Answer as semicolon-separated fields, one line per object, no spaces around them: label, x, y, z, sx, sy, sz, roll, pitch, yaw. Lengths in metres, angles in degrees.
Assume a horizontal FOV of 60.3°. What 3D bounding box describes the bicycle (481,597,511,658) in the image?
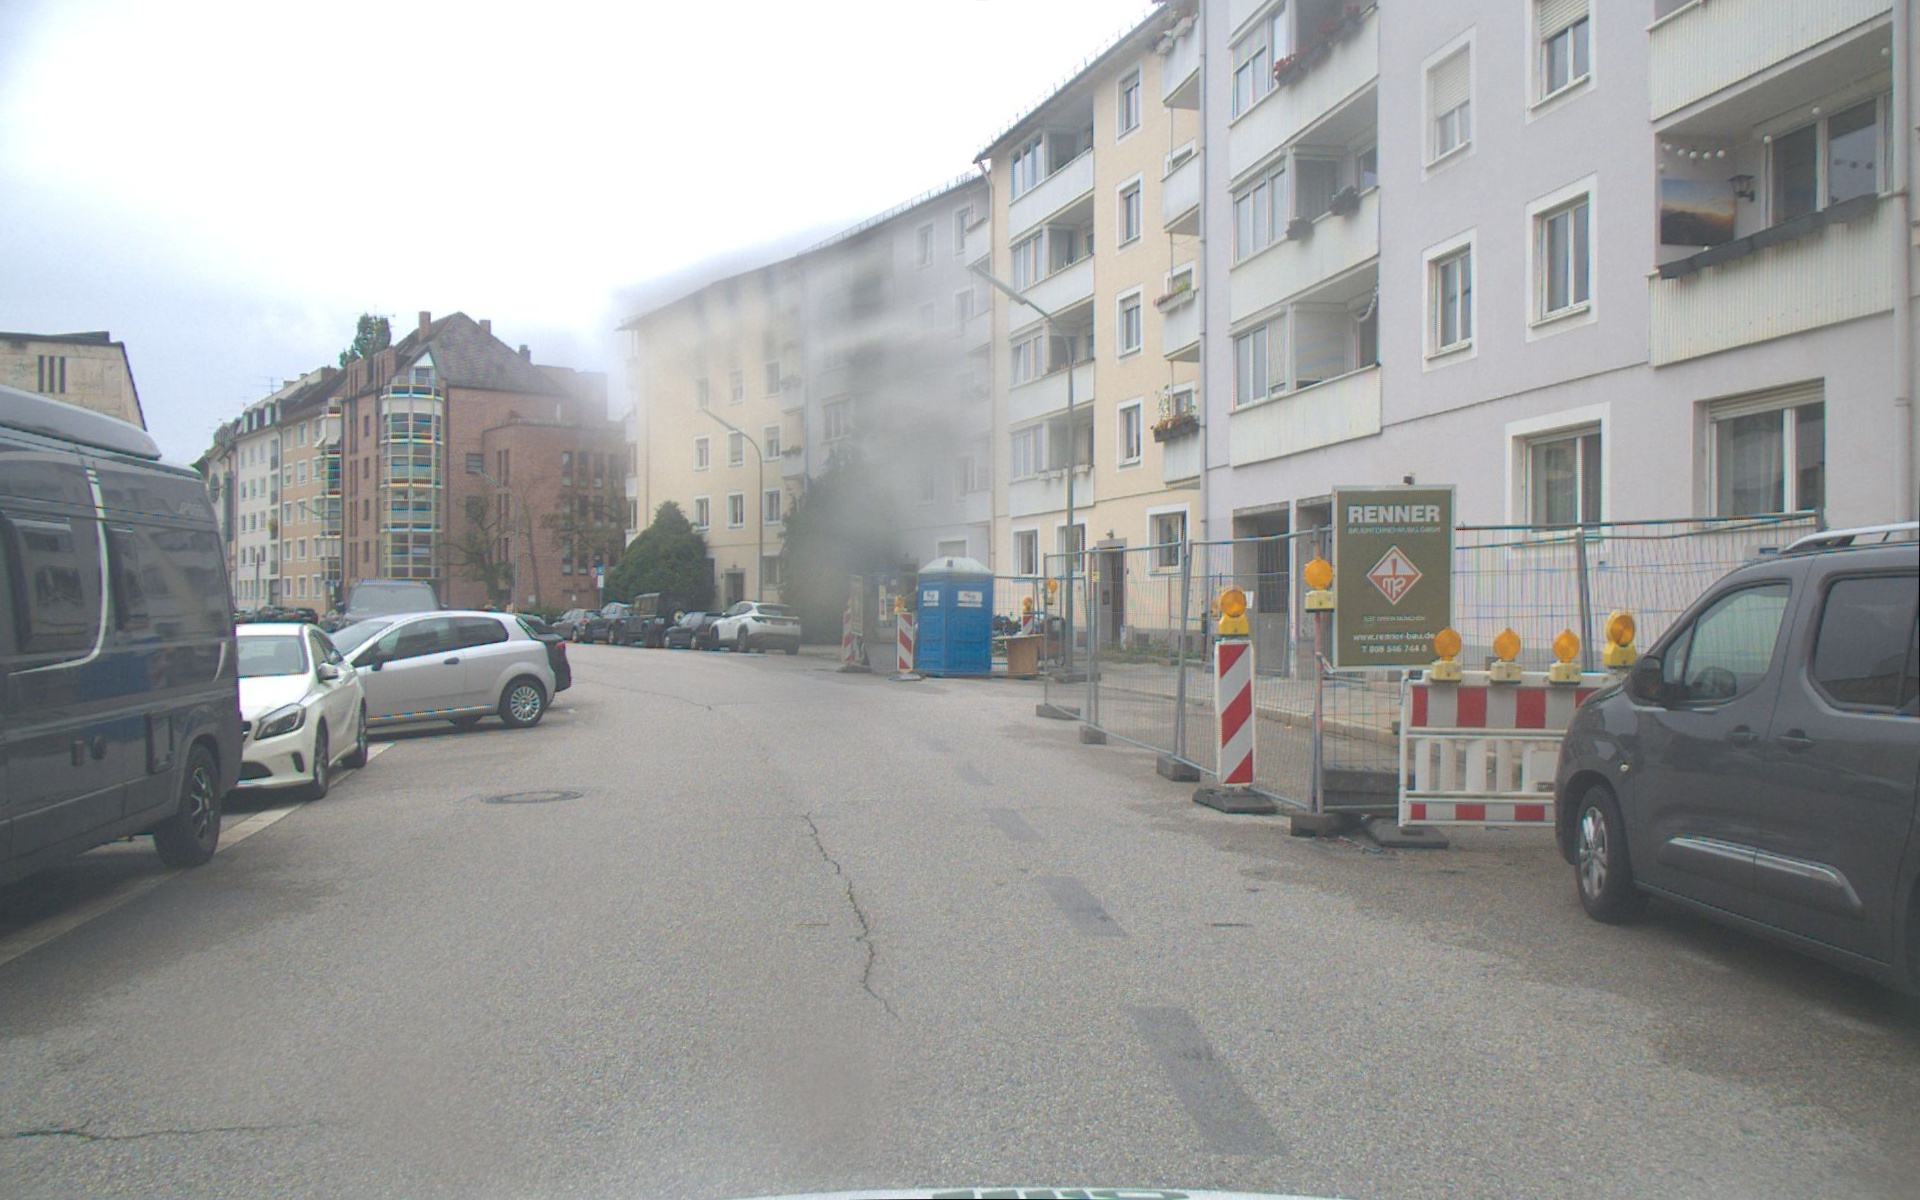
bicycle;-14.206;0.814;50.587;0.782;1.752;3.101;-2;1;-16

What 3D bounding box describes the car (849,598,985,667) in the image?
car;-1.085;0.718;38.739;1.803;1.467;4.602;2;-1;-20

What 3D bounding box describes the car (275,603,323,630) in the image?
car;-43.604;1.097;109.077;1.818;1.630;4.206;2;-1;-39

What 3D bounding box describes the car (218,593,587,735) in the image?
car;-6.751;0.762;20.299;1.647;1.557;3.954;1;-1;45

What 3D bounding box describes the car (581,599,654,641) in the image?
car;-13.877;0.817;66.789;1.640;1.593;4.471;2;-2;-29

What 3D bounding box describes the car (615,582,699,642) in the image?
car;-11.371;0.438;61.871;1.728;2.118;4.472;2;-1;-29

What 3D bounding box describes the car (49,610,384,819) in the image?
car;-6.268;0.857;14.442;1.796;1.411;4.128;-4;1;-13

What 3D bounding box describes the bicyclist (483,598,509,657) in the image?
bicyclist;-14.147;0.823;50.399;0.736;1.747;1.027;-1;1;-16

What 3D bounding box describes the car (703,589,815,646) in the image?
car;-6.522;0.552;53.312;2.004;1.707;4.568;2;-1;-29

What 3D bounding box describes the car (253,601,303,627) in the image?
car;-46.595;0.962;112.975;1.951;1.630;4.606;2;-1;-39

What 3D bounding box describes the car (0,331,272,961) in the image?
car;-5.179;0.211;7.721;2.104;2.619;6.199;-1;0;-8

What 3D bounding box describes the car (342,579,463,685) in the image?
car;-10.445;0.535;30.803;1.965;1.803;4.784;0;0;-21

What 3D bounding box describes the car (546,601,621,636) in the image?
car;-16.156;0.820;70.863;1.739;1.421;3.994;2;-3;-35

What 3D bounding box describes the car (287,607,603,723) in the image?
car;-7.265;0.874;23.612;1.718;1.397;3.983;-2;0;42

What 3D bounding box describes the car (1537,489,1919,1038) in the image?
car;4.054;0.575;6.577;1.800;1.830;4.235;2;-1;-3

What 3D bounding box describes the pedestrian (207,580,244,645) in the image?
pedestrian;-20.348;0.349;45.826;0.782;1.770;0.816;2;-1;-19

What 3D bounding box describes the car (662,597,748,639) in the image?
car;-8.907;0.656;57.579;1.642;1.373;3.762;2;-2;-32
